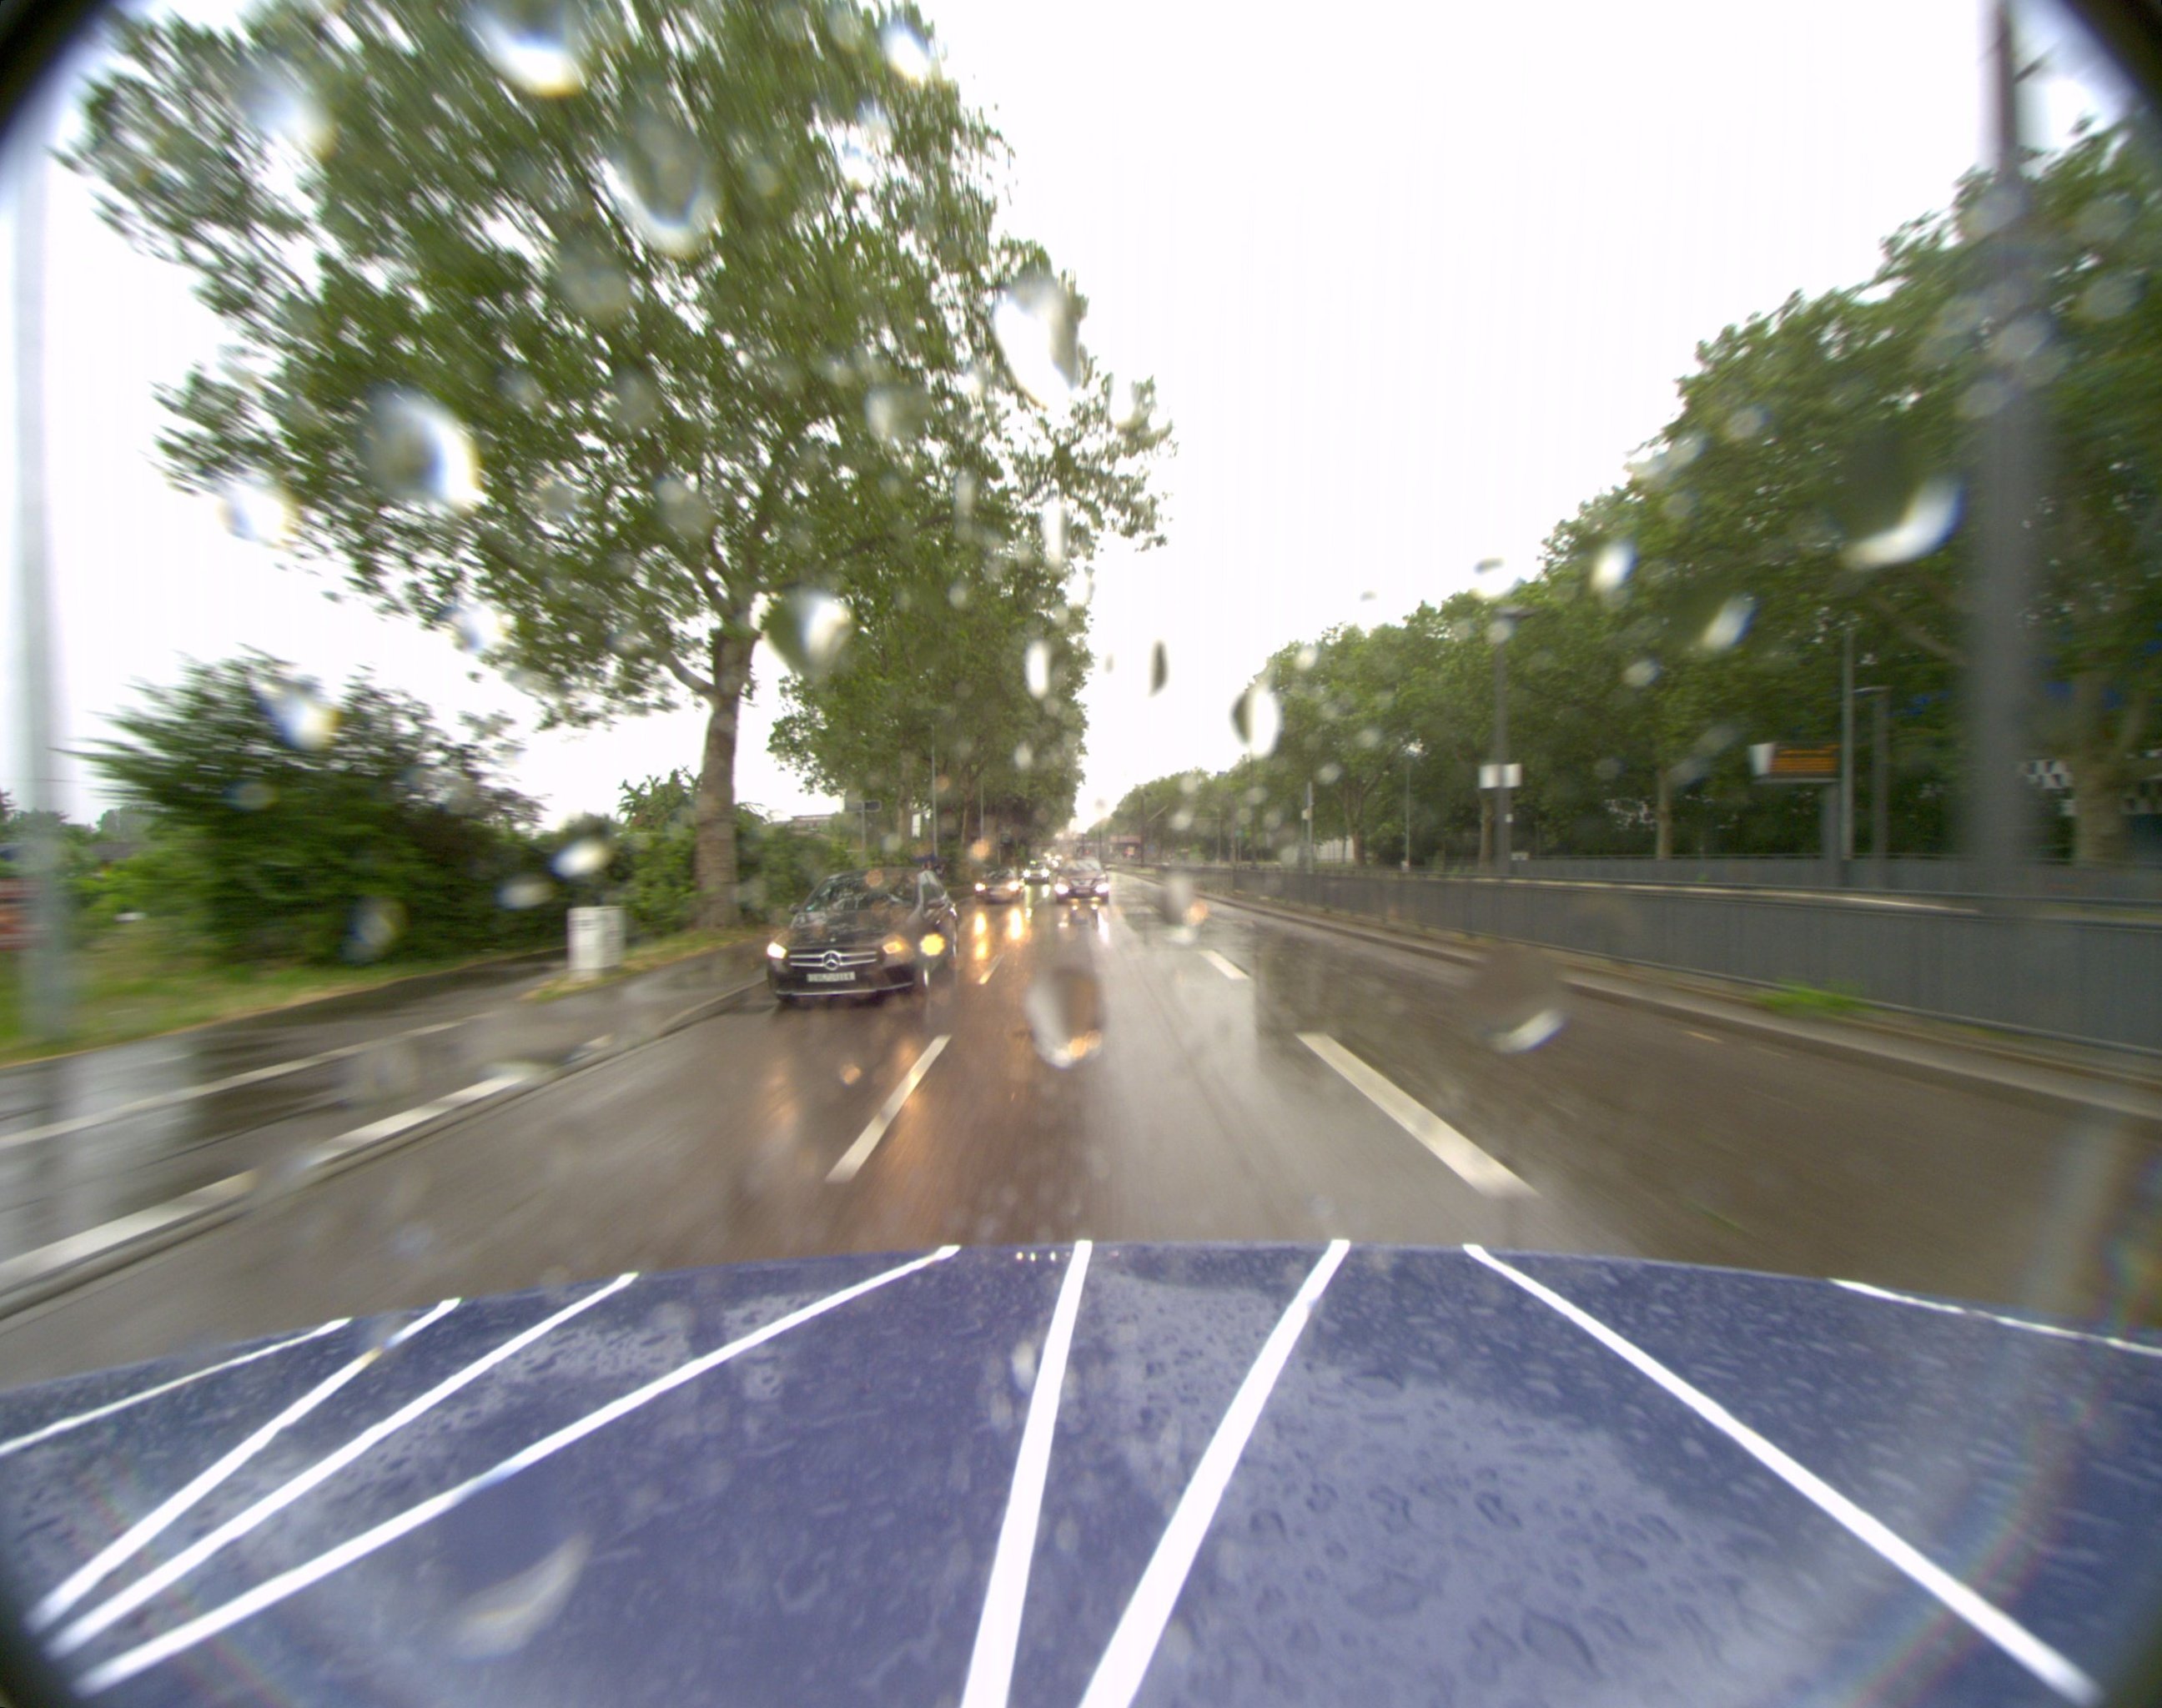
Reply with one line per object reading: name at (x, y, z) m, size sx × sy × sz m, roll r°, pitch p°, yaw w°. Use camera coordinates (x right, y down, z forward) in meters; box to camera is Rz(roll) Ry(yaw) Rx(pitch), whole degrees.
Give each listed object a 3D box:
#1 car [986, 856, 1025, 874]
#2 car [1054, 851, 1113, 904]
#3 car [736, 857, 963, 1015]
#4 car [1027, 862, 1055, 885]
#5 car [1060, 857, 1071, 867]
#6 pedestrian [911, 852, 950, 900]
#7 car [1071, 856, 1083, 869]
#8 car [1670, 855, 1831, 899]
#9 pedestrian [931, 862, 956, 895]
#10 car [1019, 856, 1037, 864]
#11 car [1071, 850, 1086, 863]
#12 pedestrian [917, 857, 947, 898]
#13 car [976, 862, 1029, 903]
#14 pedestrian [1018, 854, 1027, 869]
car at (-6.830, 1.017, 68.787) m, size 3.389 × 1.488 × 1.658 m, roll -2°, pitch -1°, yaw -2°
car at (0.094, 0.841, 28.560) m, size 1.975 × 1.794 × 4.158 m, roll -2°, pitch 0°, yaw 0°
car at (-2.732, 0.851, 10.077) m, size 1.822 × 1.521 × 4.420 m, roll -3°, pitch 0°, yaw -3°
car at (-2.758, 1.325, 52.693) m, size 1.821 × 1.520 × 4.158 m, roll -1°, pitch 0°, yaw -2°
car at (-3.115, 1.602, 157.226) m, size 1.998 × 2.002 × 4.000 m, roll -2°, pitch 1°, yaw 2°
pedestrian at (-5.673, 0.824, 28.715) m, size 1.243 × 1.775 × 1.147 m, roll 1°, pitch 1°, yaw 0°
car at (-0.681, 1.485, 133.437) m, size 1.998 × 2.002 × 4.000 m, roll -2°, pitch 1°, yaw 2°
car at (23.010, 0.737, 26.335) m, size 1.955 × 1.375 × 3.999 m, roll -1°, pitch 0°, yaw -3°
pedestrian at (-5.965, 1.056, 32.999) m, size 0.894 × 1.382 × 1.016 m, roll 1°, pitch 1°, yaw 0°
car at (-10.389, 1.210, 148.620) m, size 1.611 × 1.423 × 3.546 m, roll -3°, pitch 1°, yaw -43°
car at (-0.373, 0.375, 107.253) m, size 1.870 × 1.688 × 4.424 m, roll -1°, pitch 0°, yaw -3°
pedestrian at (-5.974, 0.929, 30.532) m, size 0.949 × 1.580 × 1.293 m, roll 0°, pitch 1°, yaw 0°
car at (-3.035, 1.083, 30.010) m, size 1.641 × 1.377 × 3.781 m, roll -2°, pitch 1°, yaw 0°
pedestrian at (-6.934, 0.871, 89.800) m, size 0.969 × 1.693 × 1.140 m, roll -3°, pitch 1°, yaw -1°
